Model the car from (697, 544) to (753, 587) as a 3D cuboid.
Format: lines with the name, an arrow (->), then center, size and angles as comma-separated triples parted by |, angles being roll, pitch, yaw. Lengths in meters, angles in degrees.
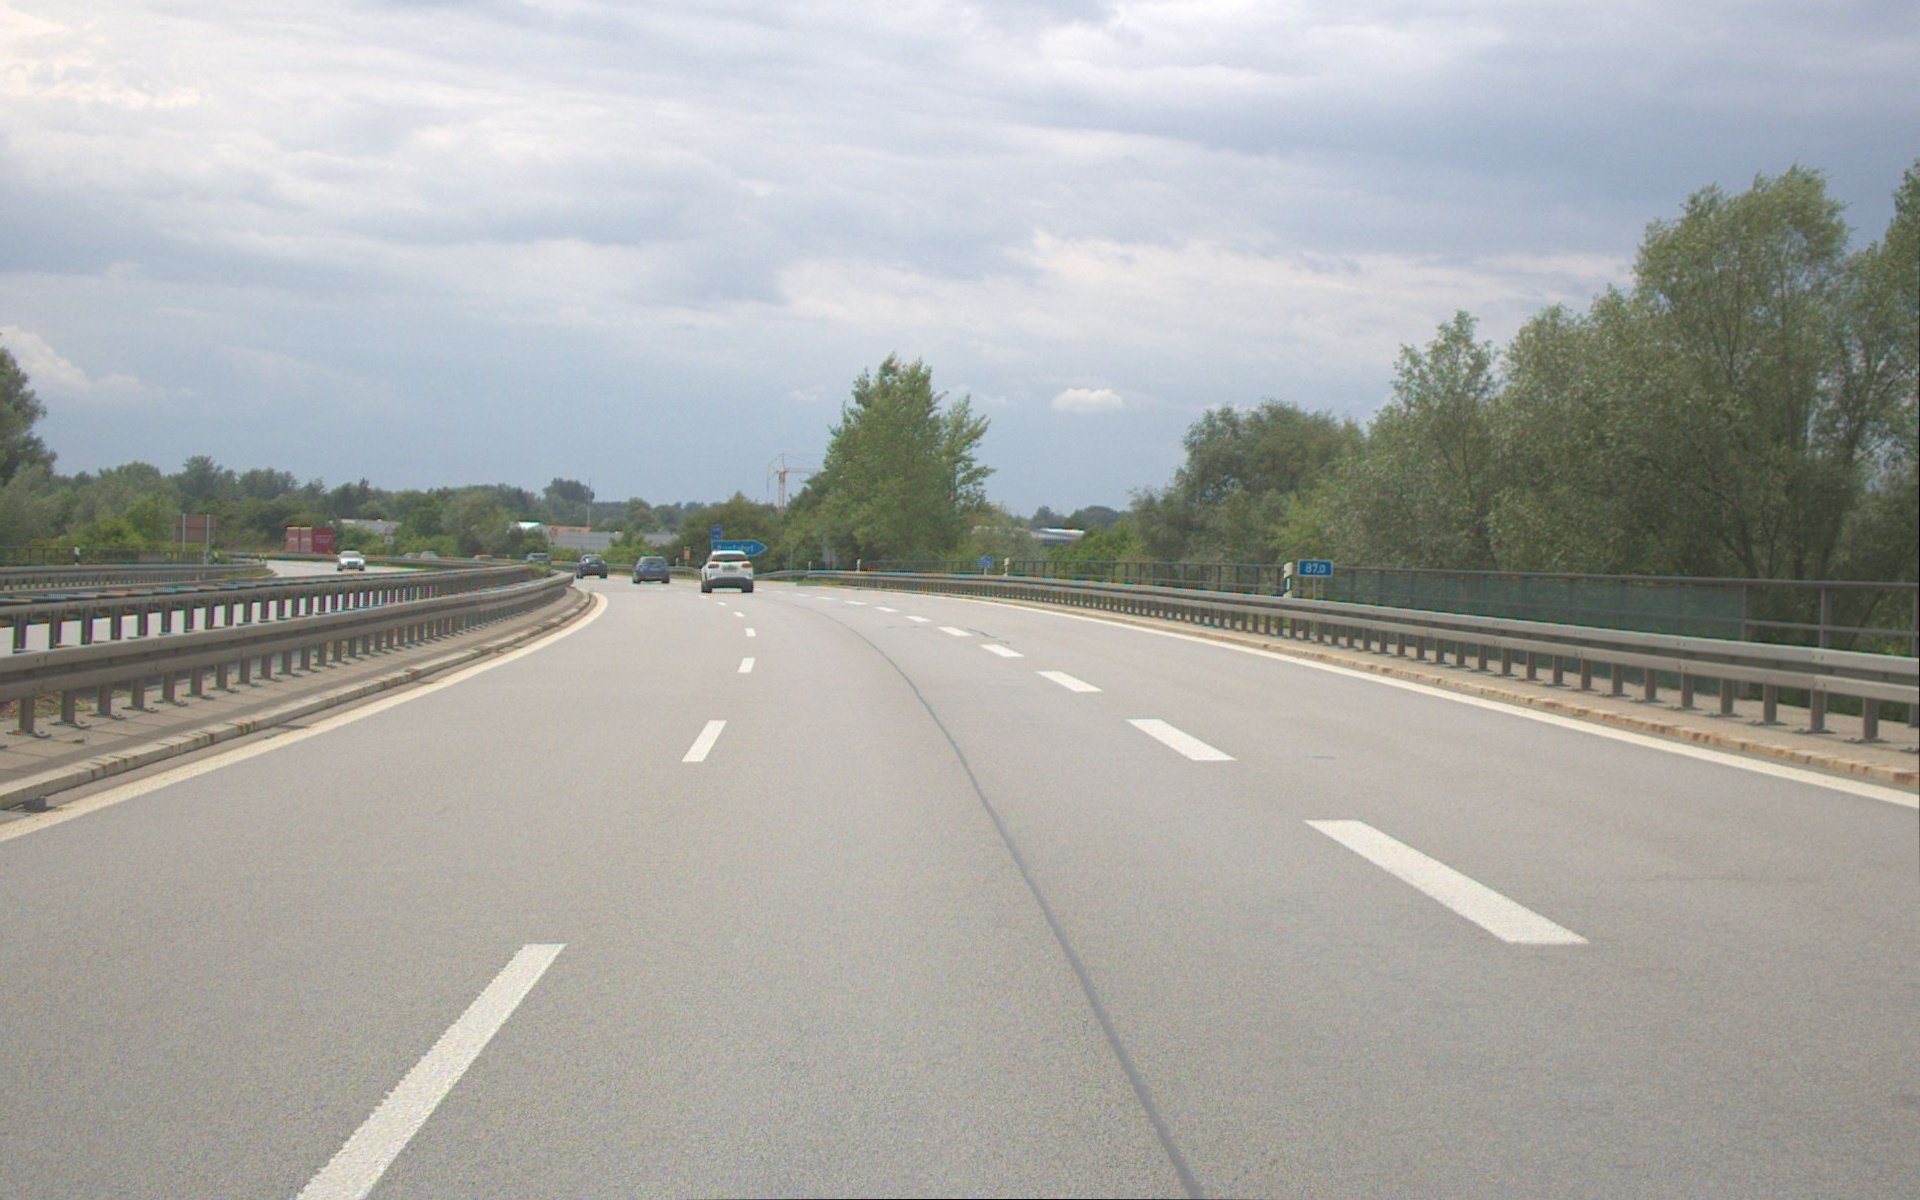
car -> -9.161, -1.358, 133.837 | 1.902, 1.634, 4.397 | 1, 1, -7

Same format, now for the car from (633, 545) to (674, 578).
car -> -16.229, -2.053, 181.931 | 1.892, 1.634, 4.623 | 1, 1, -8

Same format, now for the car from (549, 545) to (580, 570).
car -> -29.940, -3.224, 260.195 | 1.826, 1.787, 4.415 | 1, 1, -12

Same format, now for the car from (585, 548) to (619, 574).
car -> -23.352, -2.520, 224.118 | 1.902, 1.634, 4.781 | 1, 1, -9

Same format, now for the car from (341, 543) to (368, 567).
car -> -43.685, -3.237, 248.188 | 1.642, 1.709, 4.982 | 2, 0, -7
